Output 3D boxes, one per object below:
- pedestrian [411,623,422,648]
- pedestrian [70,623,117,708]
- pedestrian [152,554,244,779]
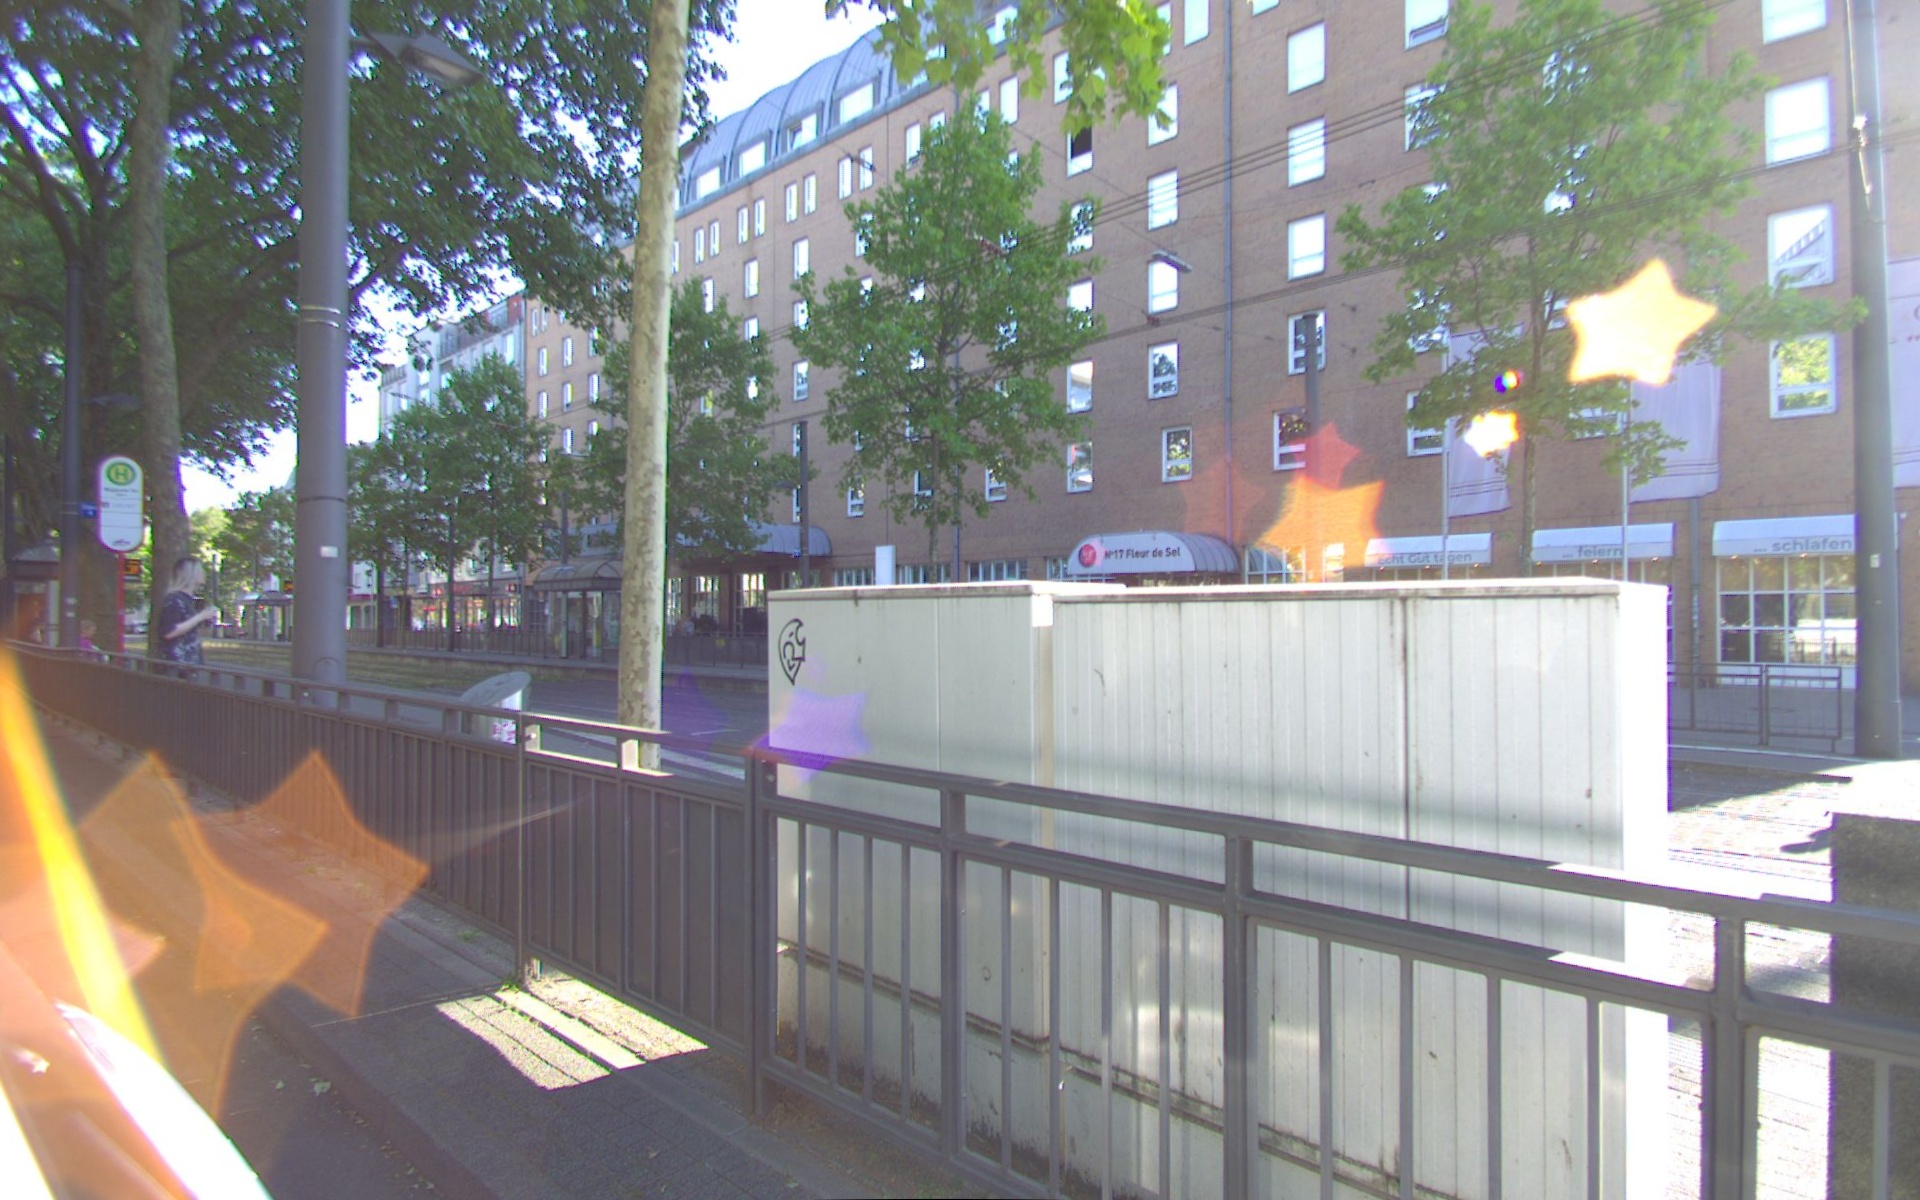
[{"bbox_3d":[-38.755,2.539,72.207,0.574,1.748,0.497,-2,-2,43],"label":"pedestrian"},{"bbox_3d":[-13.956,1.041,16.307,0.534,1.327,0.525,-1,0,-37],"label":"pedestrian"},{"bbox_3d":[-6.530,0.545,8.673,0.524,1.848,0.535,-1,0,44],"label":"pedestrian"}]
